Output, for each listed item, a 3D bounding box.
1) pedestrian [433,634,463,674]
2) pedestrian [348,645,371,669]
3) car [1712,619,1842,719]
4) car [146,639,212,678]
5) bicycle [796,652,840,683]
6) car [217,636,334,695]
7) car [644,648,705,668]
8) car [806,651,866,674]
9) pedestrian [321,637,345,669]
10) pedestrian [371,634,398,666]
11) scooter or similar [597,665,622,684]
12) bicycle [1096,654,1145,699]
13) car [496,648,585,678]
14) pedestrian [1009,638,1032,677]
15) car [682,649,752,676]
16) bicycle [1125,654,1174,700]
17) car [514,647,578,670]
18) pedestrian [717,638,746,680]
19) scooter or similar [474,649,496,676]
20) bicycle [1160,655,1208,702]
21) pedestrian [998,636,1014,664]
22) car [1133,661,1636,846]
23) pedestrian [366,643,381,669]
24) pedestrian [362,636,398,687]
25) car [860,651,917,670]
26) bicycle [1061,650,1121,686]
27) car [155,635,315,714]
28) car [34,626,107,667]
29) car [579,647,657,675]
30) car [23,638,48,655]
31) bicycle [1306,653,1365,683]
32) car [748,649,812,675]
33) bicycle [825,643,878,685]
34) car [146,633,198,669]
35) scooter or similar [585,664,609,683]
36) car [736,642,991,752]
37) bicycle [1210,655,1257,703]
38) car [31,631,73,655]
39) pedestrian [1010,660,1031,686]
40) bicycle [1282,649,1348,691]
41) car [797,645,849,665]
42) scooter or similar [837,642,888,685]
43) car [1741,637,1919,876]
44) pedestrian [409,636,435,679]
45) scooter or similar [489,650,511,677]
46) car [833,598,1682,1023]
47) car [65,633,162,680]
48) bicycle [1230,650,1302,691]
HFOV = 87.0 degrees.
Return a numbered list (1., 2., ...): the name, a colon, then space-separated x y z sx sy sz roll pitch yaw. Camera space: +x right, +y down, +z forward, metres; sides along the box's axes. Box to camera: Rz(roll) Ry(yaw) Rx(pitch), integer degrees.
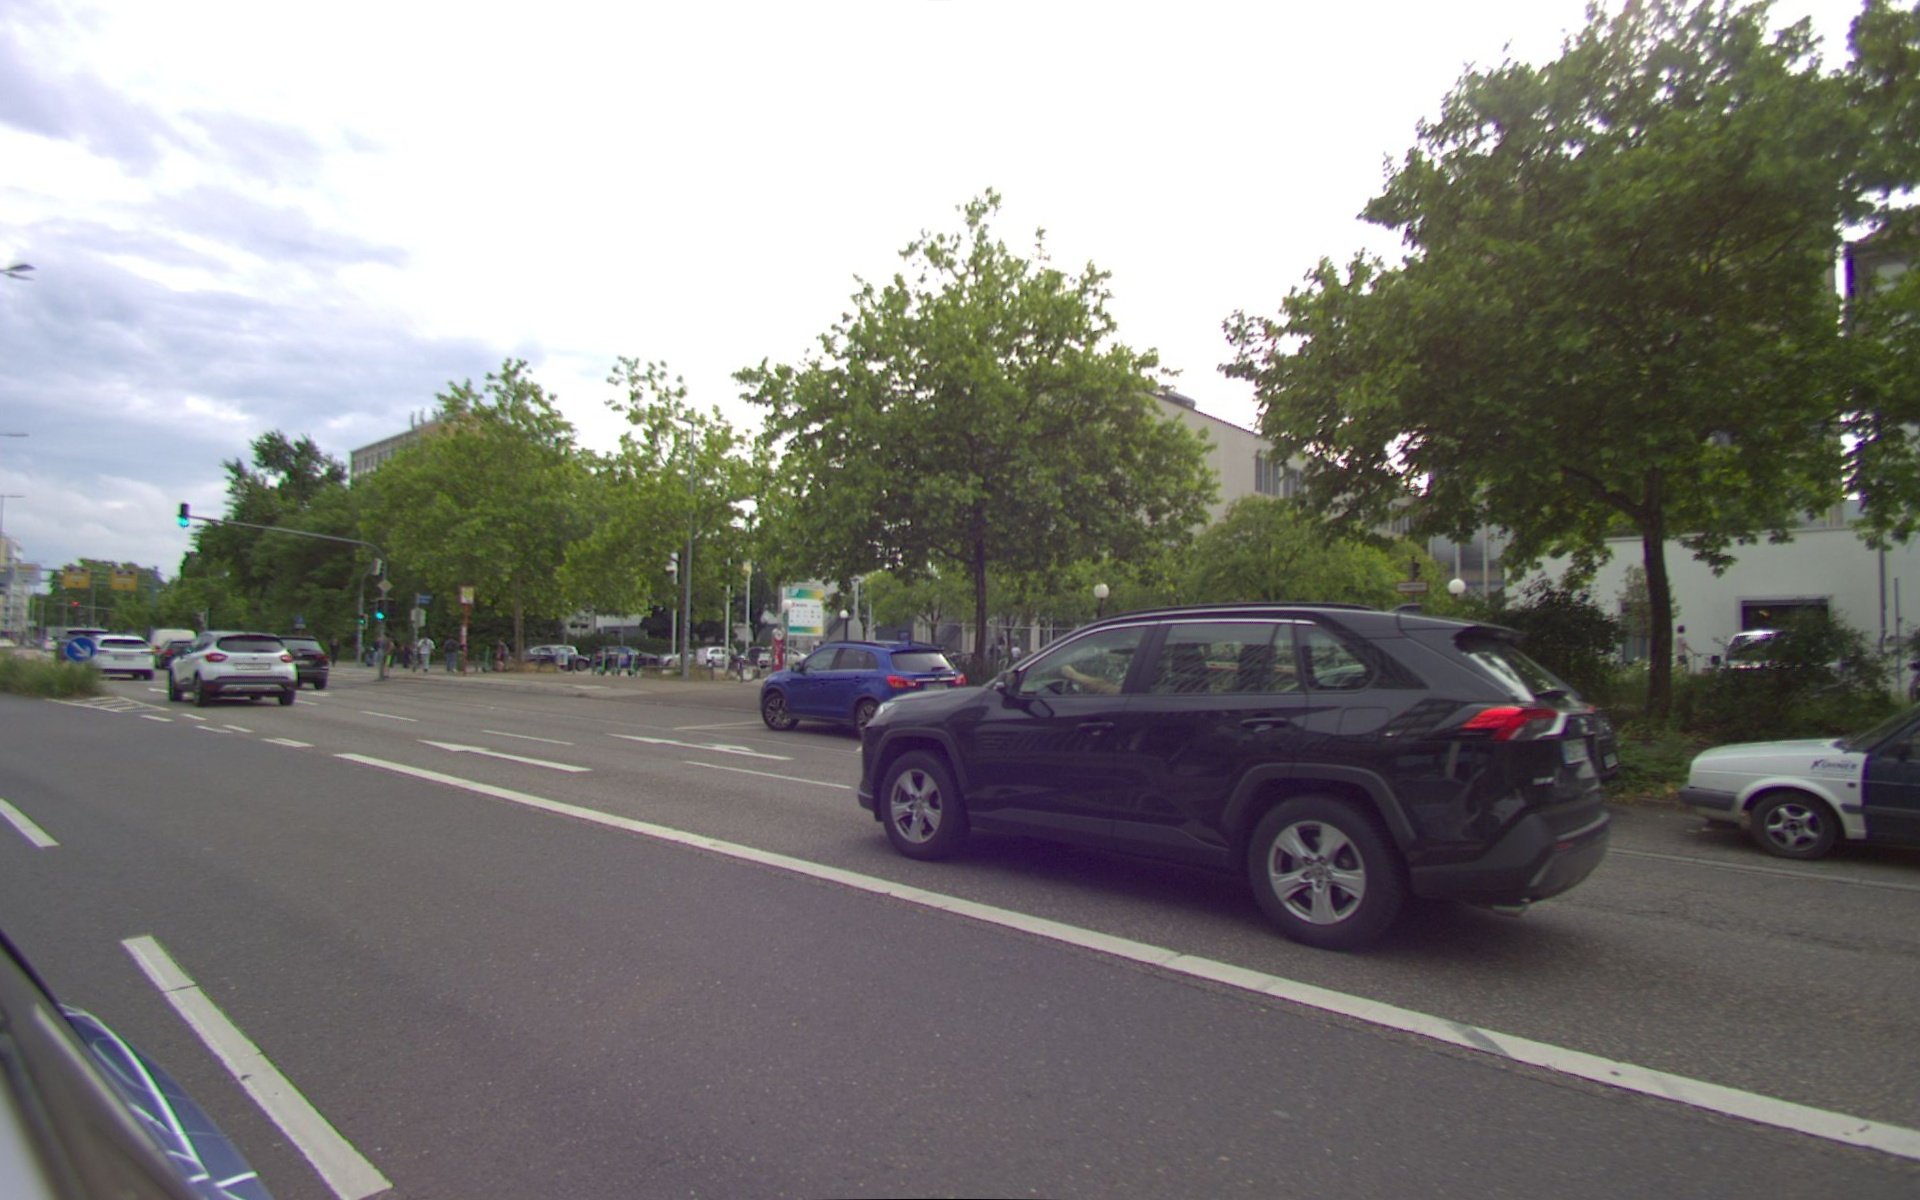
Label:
1. pedestrian: -23.861 2.525 47.160 0.935 1.817 0.886 -2 -5 39
2. pedestrian: -35.969 3.416 60.626 0.991 1.439 0.697 -1 -2 15
3. car: 14.826 1.181 18.362 1.651 1.614 3.549 -2 -2 40
4. car: -36.300 2.704 47.008 3.999 1.702 1.680 -2 -5 43
5. bicycle: -5.545 2.631 39.632 0.717 1.162 2.019 0 -4 24
6. car: -21.320 1.993 31.449 4.467 1.707 1.972 -2 -5 42
7. car: -21.255 4.308 75.427 2.000 1.402 3.943 -2 -3 43
8. car: -8.825 4.451 72.004 1.889 1.565 3.943 -2 -5 42
9. pedestrian: -36.317 3.075 58.609 0.653 1.705 0.583 -2 -19 45
10. pedestrian: -36.981 3.181 65.053 1.089 2.029 1.037 -1 -2 11
11. scooter or similar: -13.530 2.866 39.031 0.402 0.699 1.290 2 -3 -45
12. bicycle: 6.005 2.840 37.747 0.721 1.606 2.376 -2 -4 38
13. car: -23.106 3.432 55.787 1.998 1.483 4.101 -2 -2 39
14. pedestrian: 3.244 3.058 53.923 0.884 2.029 0.796 4 -5 -40
15. car: -15.468 3.945 64.639 1.999 1.592 3.945 -2 -2 41
16. bicycle: 6.960 2.814 37.069 0.721 1.606 2.376 -2 -4 38
17. car: -27.800 3.913 67.989 1.862 1.461 3.546 -2 -3 42
18. pedestrian: -11.376 2.948 50.430 1.091 2.029 0.788 0 -4 26
19. scooter or similar: -20.902 2.761 44.529 1.319 1.149 0.356 -2 -5 43
20. bicycle: 7.981 2.773 35.949 0.721 1.606 2.376 -2 -4 38
21. pedestrian: 3.367 3.687 74.223 0.942 2.029 0.788 0 -4 26
22. car: 4.392 1.466 11.103 1.852 1.435 4.732 0 -2 -44
23. pedestrian: -37.802 3.617 65.232 0.600 1.619 0.498 -1 -4 31
24. pedestrian: -23.572 2.498 41.127 1.009 2.029 0.884 -2 -4 41
25. car: -5.317 4.541 75.614 2.007 1.371 3.943 -2 -5 42
26. bicycle: 5.801 3.026 44.833 2.621 1.571 0.925 3 -4 -30
27. car: -16.062 1.615 22.360 4.179 1.559 1.972 -2 -6 42
28. car: -38.556 1.996 43.826 4.949 1.700 1.971 -2 -3 44
29. car: -20.055 3.567 59.434 1.998 1.483 3.948 -2 -2 39
30. car: -102.286 5.126 111.954 1.866 1.786 4.003 1 -2 -44
31. bicycle: 16.051 2.905 43.232 2.621 1.214 0.925 3 -4 -30
32. car: -12.170 4.192 68.579 1.853 1.696 3.945 -2 -4 41
33. bicycle: -4.200 2.473 39.356 0.897 1.571 2.175 -1 -4 32
34. car: -42.113 2.689 54.061 1.750 1.862 4.492 1 -3 -43
35. scooter or similar: -14.467 2.913 40.340 0.402 0.699 1.290 2 -3 -45
36. car: -1.787 1.542 17.400 4.594 1.620 1.838 -2 -3 44
37. bicycle: 9.499 2.737 35.080 0.721 1.606 2.376 -2 -4 38
38. car: -63.667 3.049 70.959 1.934 1.596 4.258 4 -5 -45
39. pedestrian: 3.456 4.152 57.465 0.884 1.429 0.796 4 -4 -40
40. bicycle: 13.724 2.689 39.085 2.621 1.571 0.925 3 -4 -30
41. car: -11.604 4.675 85.900 2.000 1.552 3.942 -2 -4 44
42. scooter or similar: -2.960 1.940 30.849 0.566 1.253 1.557 -2 -4 42
43. car: 8.335 1.137 7.390 3.999 1.702 1.972 -2 -2 42
44. pedestrian: -25.924 2.780 48.801 0.848 2.075 0.662 -3 -6 26
45. scooter or similar: -19.729 2.719 43.410 1.319 1.149 0.356 -2 -5 43
46. car: 1.445 0.898 6.084 4.516 1.605 1.882 -2 -5 43
47. car: -28.906 1.890 34.512 4.910 1.477 1.883 -2 -3 43
48. bicycle: 12.200 2.807 40.347 3.036 1.571 0.925 3 -4 -30
